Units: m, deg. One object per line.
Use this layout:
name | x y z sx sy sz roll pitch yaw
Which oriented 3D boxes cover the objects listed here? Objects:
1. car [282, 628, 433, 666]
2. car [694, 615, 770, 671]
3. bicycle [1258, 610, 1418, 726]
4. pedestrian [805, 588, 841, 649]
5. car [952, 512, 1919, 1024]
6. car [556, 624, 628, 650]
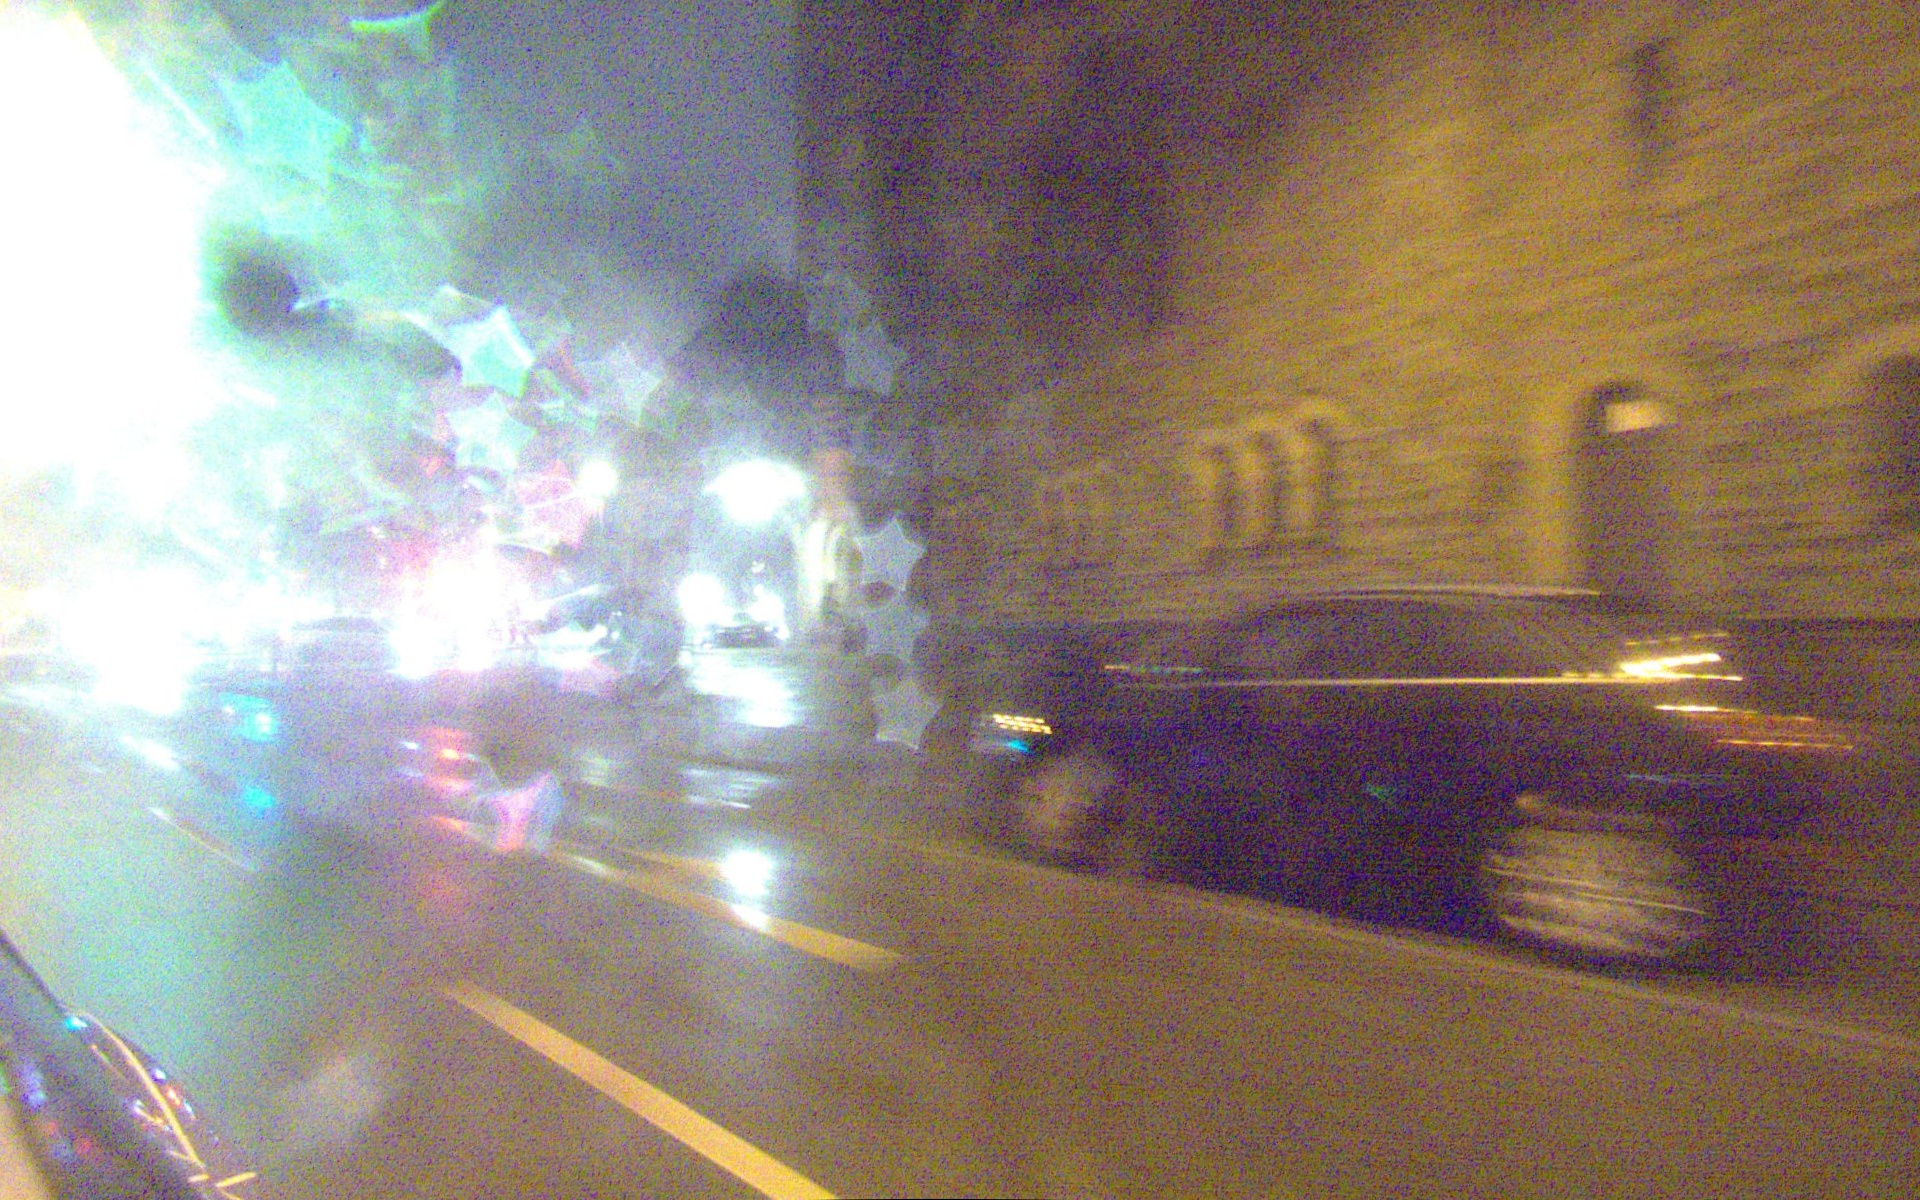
car | -24.679 1.893 41.636 4.987 1.436 2.004 0 -1 -9
car | -7.629 1.437 33.637 1.671 1.741 4.013 1 -3 -24
bicycle | 4.226 0.717 11.260 1.937 1.189 0.543 0 -1 -30
pedestrian | -3.859 0.512 28.565 0.785 1.688 0.626 -2 0 15
car | 2.210 0.599 5.346 4.408 1.683 1.793 -2 -1 41
car | -23.239 2.305 63.882 4.147 1.578 1.856 0 -1 -23
